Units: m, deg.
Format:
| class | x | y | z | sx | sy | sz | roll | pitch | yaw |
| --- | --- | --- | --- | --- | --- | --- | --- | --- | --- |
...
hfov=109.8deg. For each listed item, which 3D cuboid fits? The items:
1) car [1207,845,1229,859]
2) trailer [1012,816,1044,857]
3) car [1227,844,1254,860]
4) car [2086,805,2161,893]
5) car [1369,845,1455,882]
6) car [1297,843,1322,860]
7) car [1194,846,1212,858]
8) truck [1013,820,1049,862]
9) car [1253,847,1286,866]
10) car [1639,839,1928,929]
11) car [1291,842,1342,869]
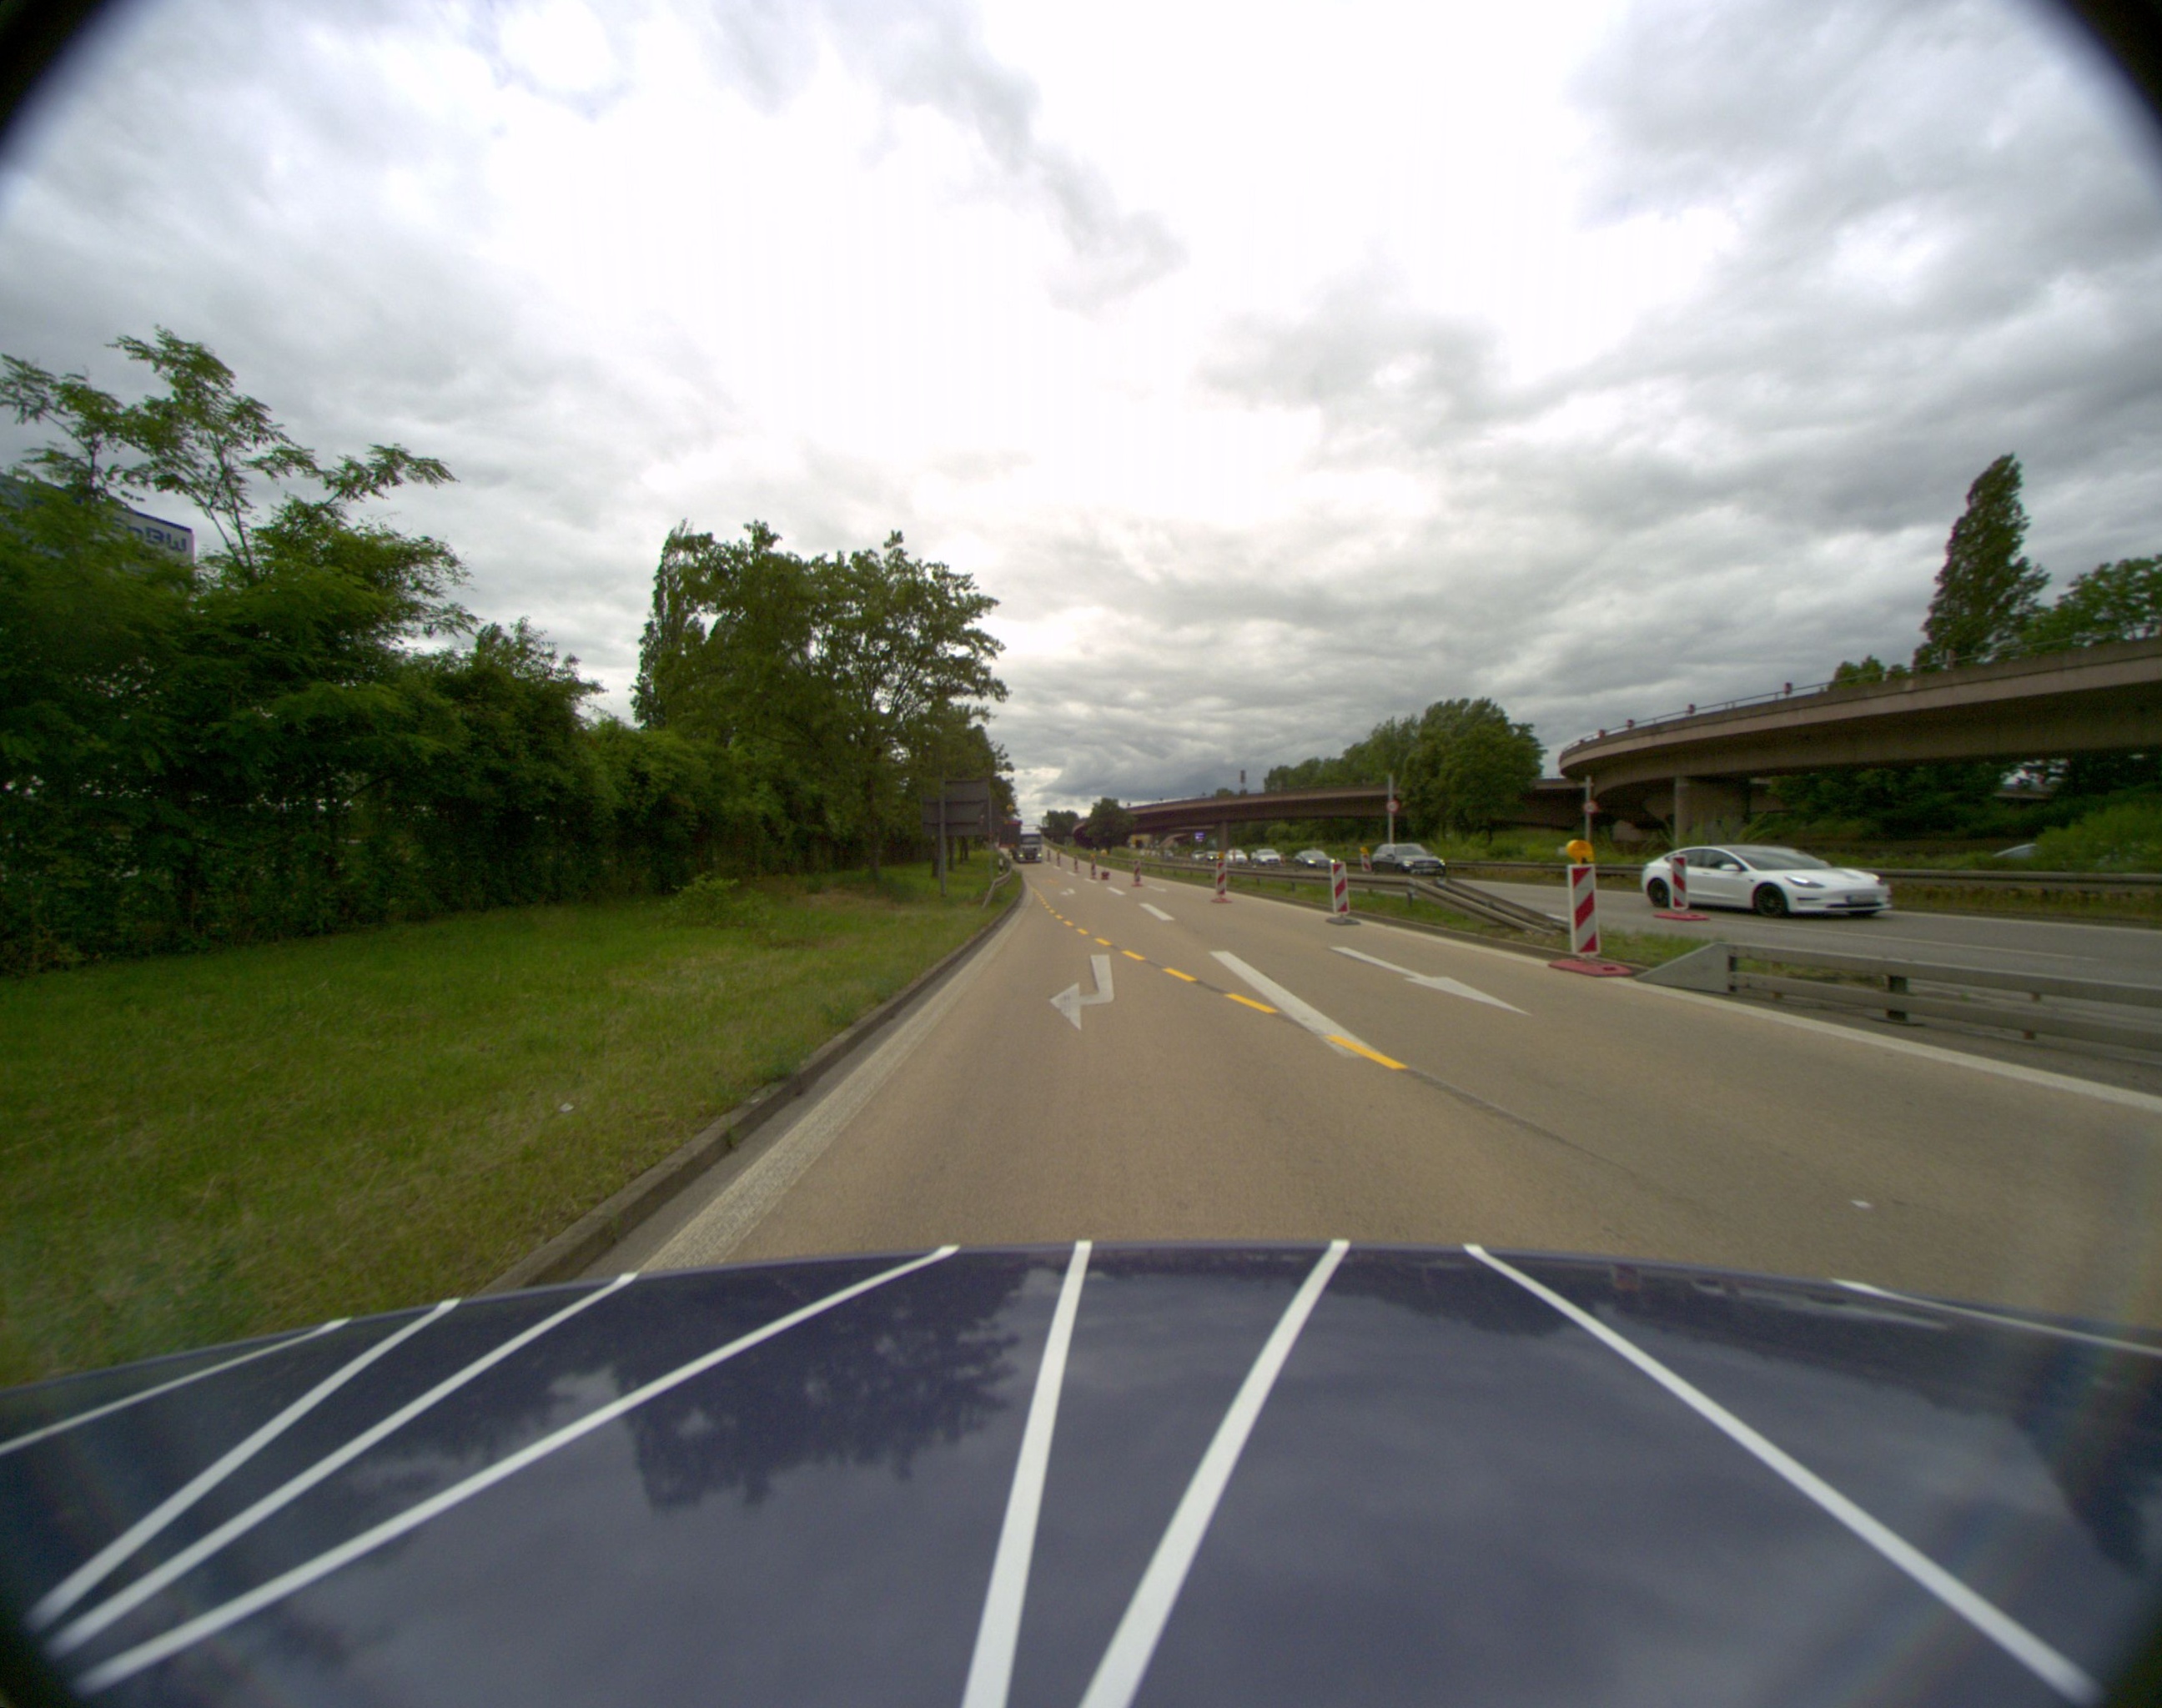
| class | x | y | z | sx | sy | sz | roll | pitch | yaw |
| --- | --- | --- | --- | --- | --- | --- | --- | --- | --- |
| car | 16.626 | -0.267 | 92.251 | 1.998 | 1.585 | 4.292 | 0 | 1 | 2 |
| trailer | -6.312 | -1.899 | 88.683 | 3.165 | 4.299 | 13.256 | -2 | 0 | -6 |
| car | 16.376 | -0.180 | 78.080 | 1.998 | 1.585 | 4.000 | 0 | 1 | 2 |
| car | 20.857 | -0.105 | 12.923 | 1.858 | 1.631 | 4.291 | -2 | 1 | 1 |
| car | 14.678 | 0.370 | 33.957 | 1.980 | 1.502 | 4.291 | -2 | 1 | 1 |
| car | 27.625 | -0.363 | 92.019 | 1.998 | 1.991 | 4.000 | 0 | 1 | 2 |
| car | 16.781 | -0.236 | 104.759 | 1.998 | 1.585 | 4.292 | 0 | 1 | 2 |
| truck | -5.466 | -1.340 | 81.339 | 3.164 | 4.107 | 8.135 | -3 | 0 | -7 |
| car | 15.345 | 0.176 | 62.033 | 1.802 | 1.503 | 3.999 | 0 | 2 | 1 |
| car | 14.288 | 0.509 | 15.917 | 1.998 | 1.533 | 4.460 | -3 | 1 | 2 |
| car | 15.366 | 0.073 | 49.737 | 1.936 | 1.693 | 3.998 | 0 | 1 | -3 |
